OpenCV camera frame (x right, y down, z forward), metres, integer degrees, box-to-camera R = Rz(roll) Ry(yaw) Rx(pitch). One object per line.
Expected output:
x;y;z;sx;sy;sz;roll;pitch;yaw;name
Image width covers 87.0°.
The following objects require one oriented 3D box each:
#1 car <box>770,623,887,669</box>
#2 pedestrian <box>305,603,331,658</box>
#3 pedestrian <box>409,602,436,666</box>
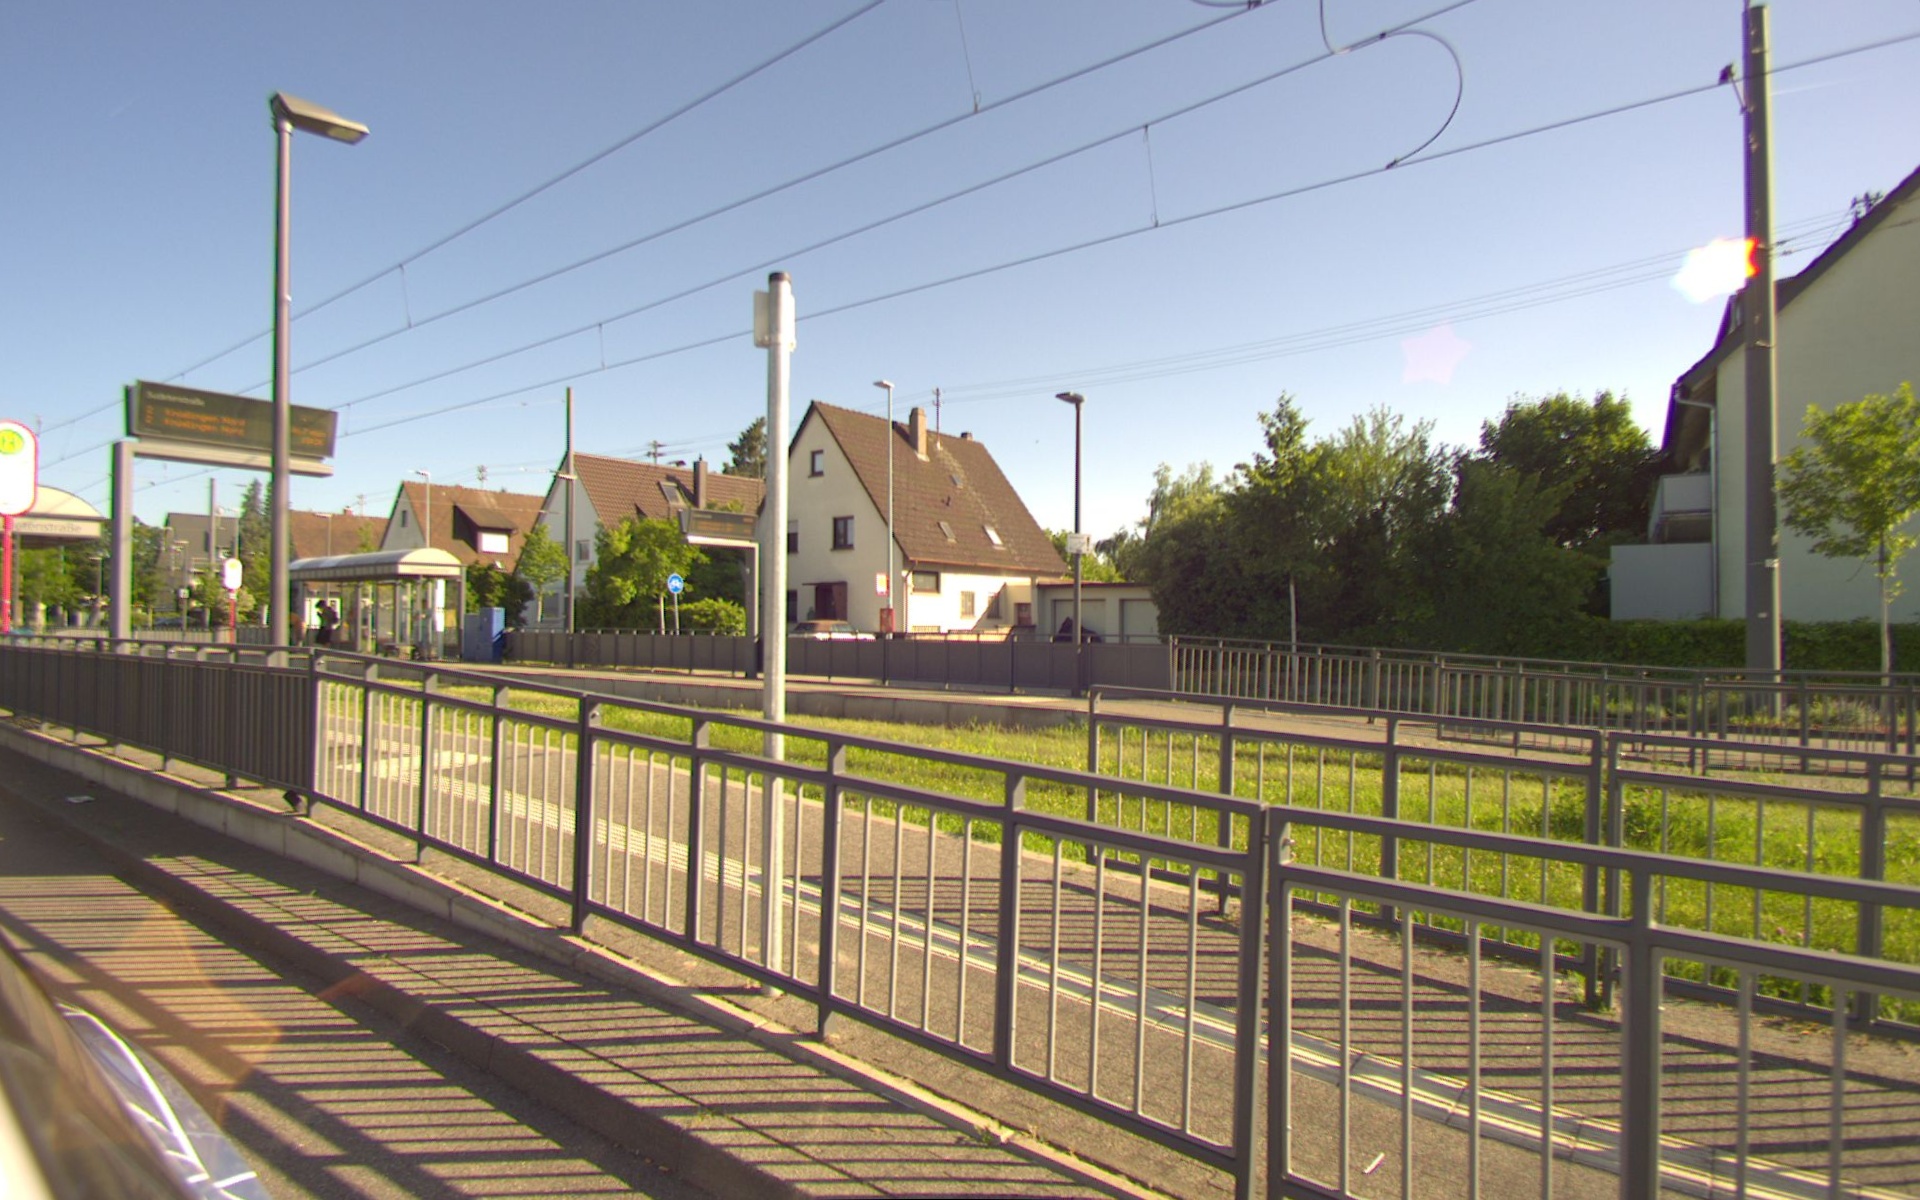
-4.601;1.581;35.868;1.996;1.547;3.942;-1;-2;36;car
-20.637;0.977;32.534;0.542;1.766;0.528;-1;-2;39;pedestrian
-14.942;0.938;28.152;0.612;1.766;0.443;1;-2;-31;pedestrian
